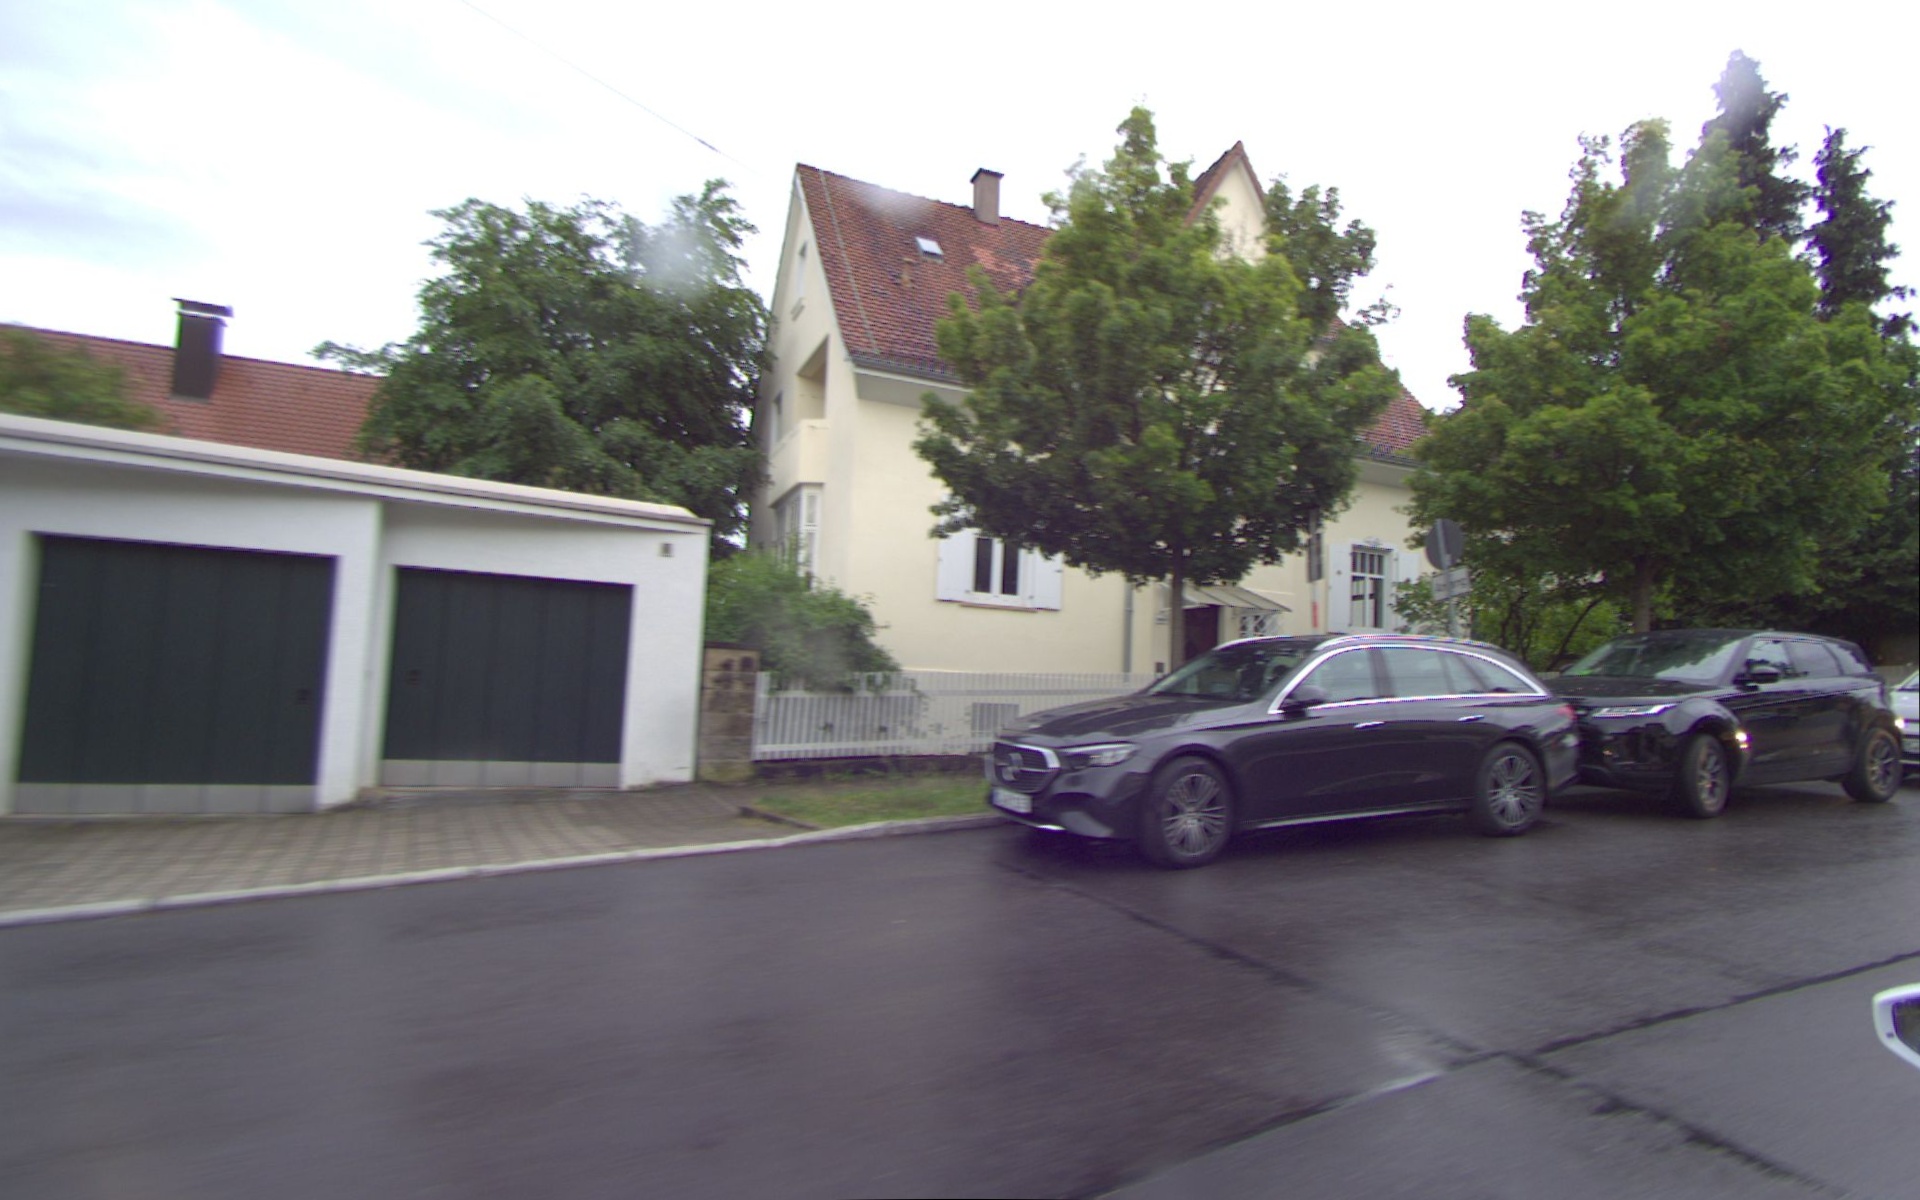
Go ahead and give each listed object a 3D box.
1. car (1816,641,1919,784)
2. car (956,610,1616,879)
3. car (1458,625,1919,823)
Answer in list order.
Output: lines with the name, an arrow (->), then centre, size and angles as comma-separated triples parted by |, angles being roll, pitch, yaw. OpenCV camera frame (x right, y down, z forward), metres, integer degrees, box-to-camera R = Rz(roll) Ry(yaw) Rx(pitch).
car -> 11.811, 1.199, 11.240 | 3.941, 1.486, 1.731 | 1, -2, -21
car -> 2.547, 0.941, 7.715 | 4.836, 1.565, 1.862 | 2, -3, -24
car -> 6.976, 1.068, 9.546 | 4.149, 1.565, 1.730 | 2, -2, -22
